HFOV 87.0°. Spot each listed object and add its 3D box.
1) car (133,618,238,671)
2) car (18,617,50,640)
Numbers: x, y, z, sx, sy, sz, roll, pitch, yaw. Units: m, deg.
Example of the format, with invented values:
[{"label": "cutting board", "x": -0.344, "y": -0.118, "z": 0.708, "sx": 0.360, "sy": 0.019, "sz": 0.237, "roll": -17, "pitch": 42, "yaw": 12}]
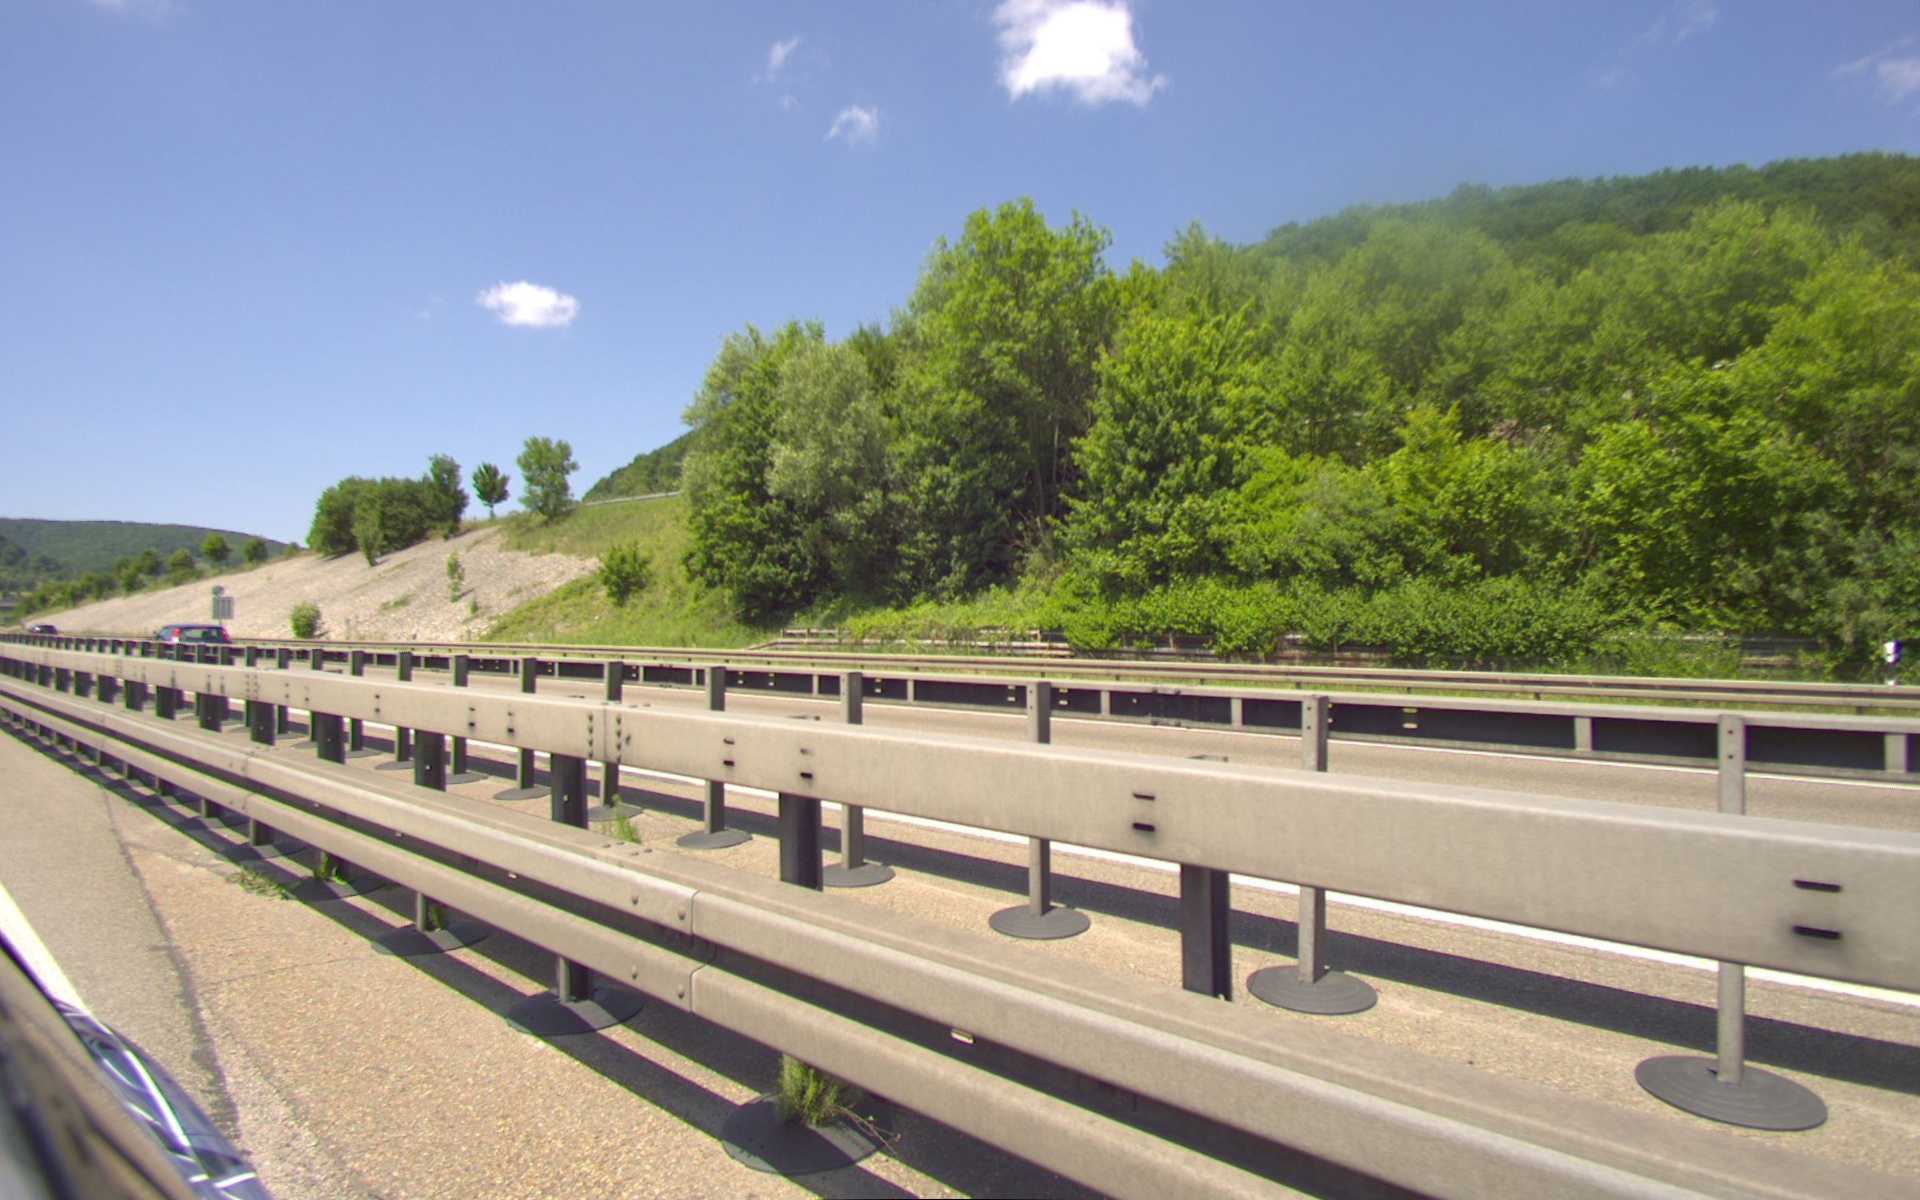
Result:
[{"label": "car", "x": -22.999, "y": 1.271, "z": 30.005, "sx": 3.997, "sy": 1.445, "sz": 1.650, "roll": -1, "pitch": 0, "yaw": 40}, {"label": "car", "x": -85.046, "y": 2.597, "z": 92.960, "sx": 4.002, "sy": 2.029, "sz": 1.971, "roll": -1, "pitch": -2, "yaw": 45}]
